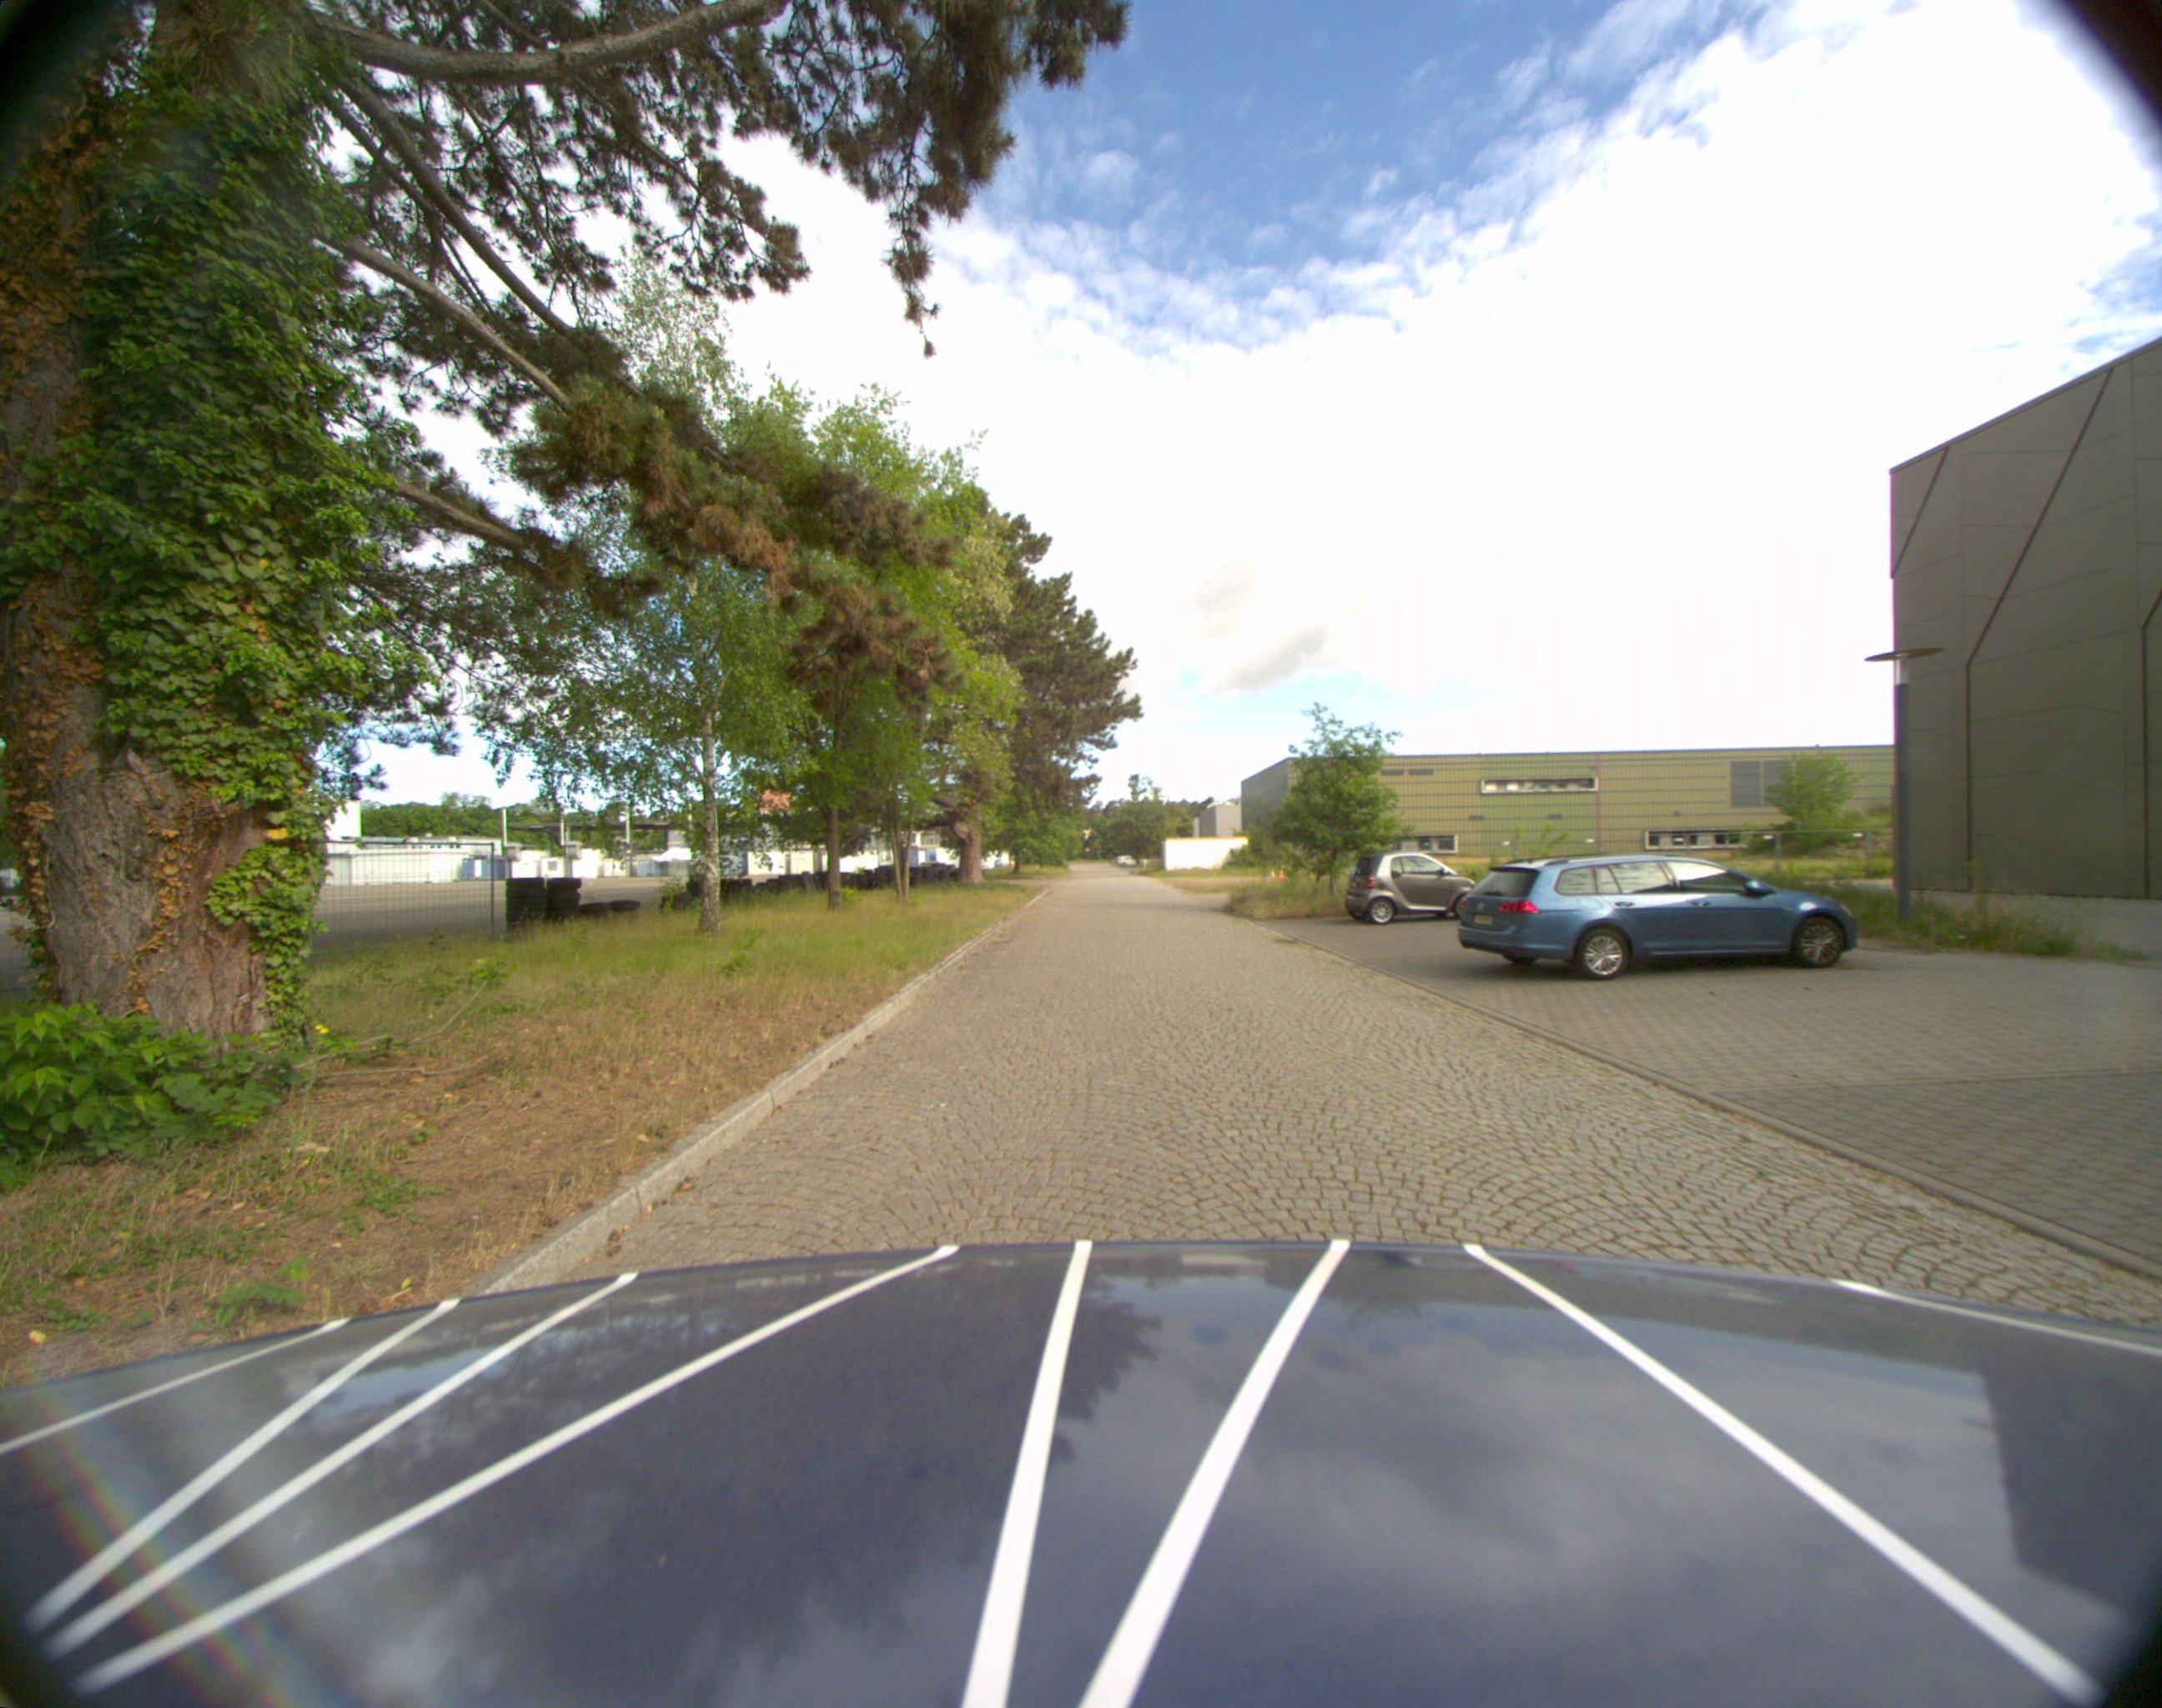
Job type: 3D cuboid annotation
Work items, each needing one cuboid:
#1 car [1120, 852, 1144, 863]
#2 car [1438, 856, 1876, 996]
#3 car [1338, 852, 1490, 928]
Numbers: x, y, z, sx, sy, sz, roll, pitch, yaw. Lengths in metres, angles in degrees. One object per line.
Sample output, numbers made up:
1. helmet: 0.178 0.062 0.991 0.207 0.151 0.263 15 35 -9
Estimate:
1. car: 8.355 0.545 124.311 3.996 1.604 1.797 -1 0 4
2. car: 7.165 0.833 9.753 4.317 1.420 1.773 -3 0 -2
3. car: 7.414 0.772 17.087 2.661 1.502 1.610 -3 0 0
